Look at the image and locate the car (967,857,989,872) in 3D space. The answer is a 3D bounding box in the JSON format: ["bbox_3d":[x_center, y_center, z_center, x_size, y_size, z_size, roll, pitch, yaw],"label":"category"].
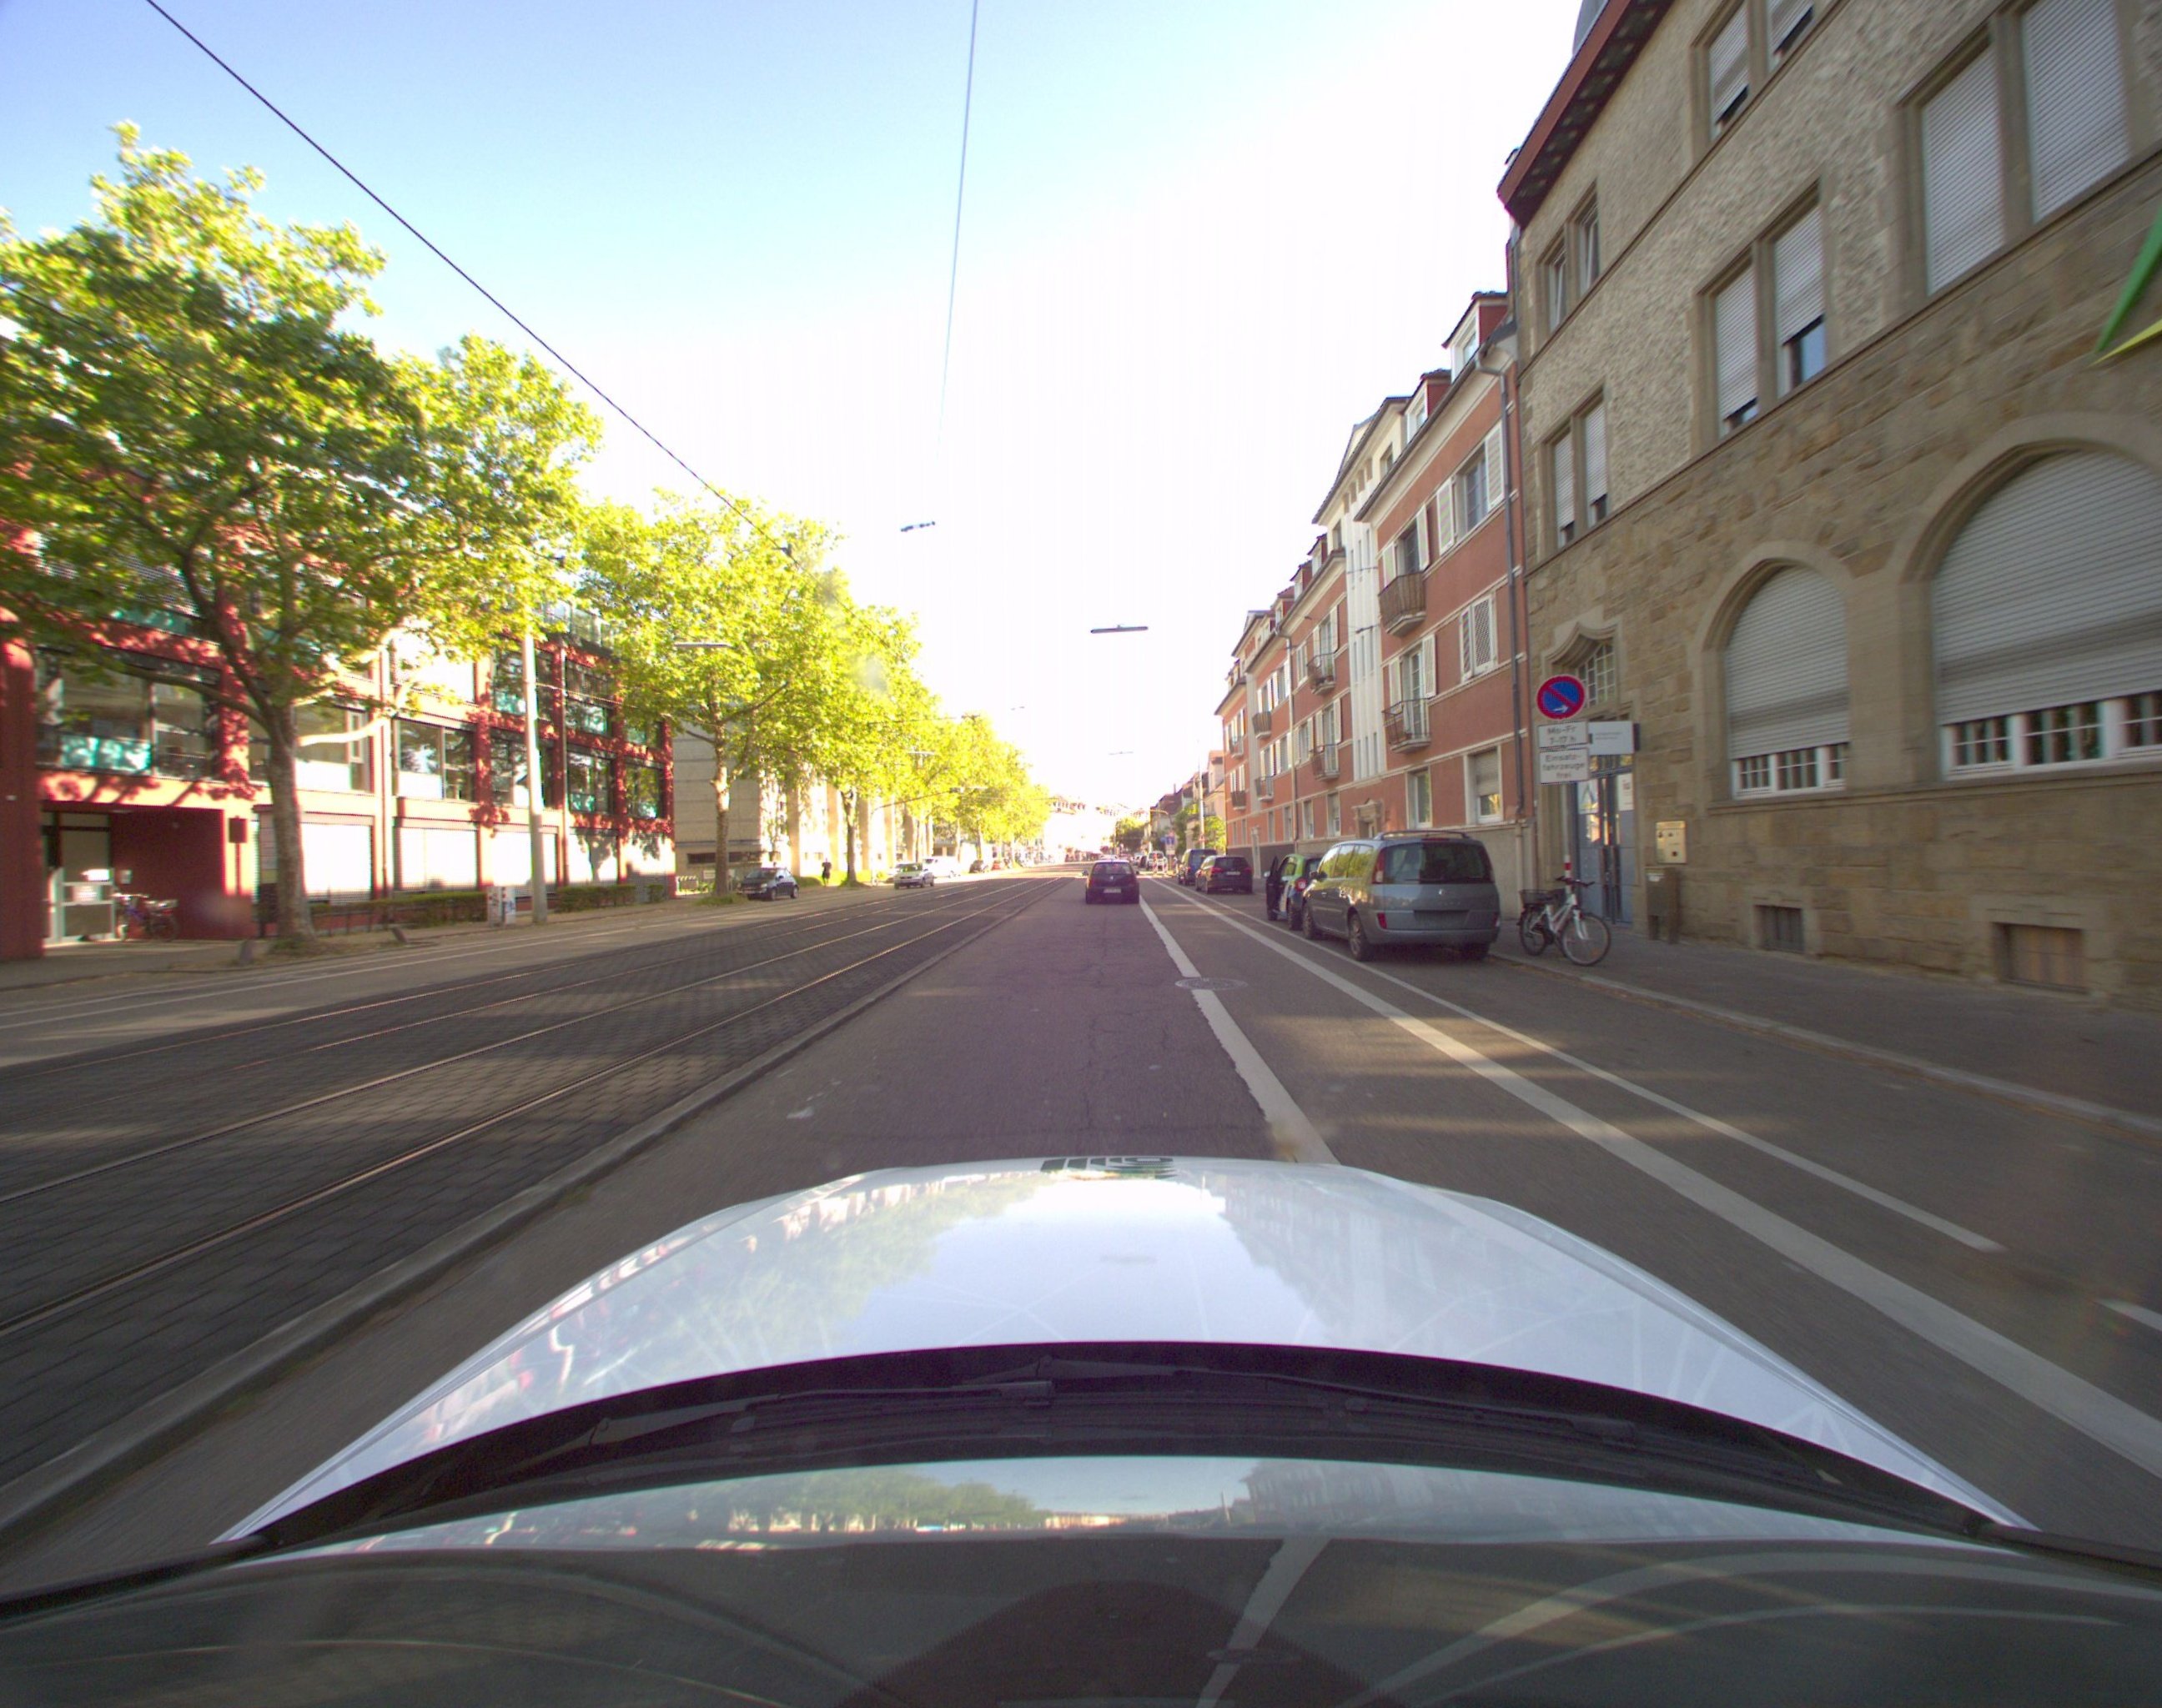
[{"bbox_3d":[-11.986,1.172,95.275,1.880,1.666,4.002,-2,0,2],"label":"car"}]

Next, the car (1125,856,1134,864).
[{"bbox_3d":[9.574,1.184,160.294,1.661,1.598,3.652,-1,0,2],"label":"car"}]

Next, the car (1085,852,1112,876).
[{"bbox_3d":[1.245,0.696,56.787,1.741,1.537,3.894,-2,0,2],"label":"car"}]

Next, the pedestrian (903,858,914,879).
[{"bbox_3d":[-15.341,1.288,72.279,0.793,1.820,0.670,0,0,1],"label":"pedestrian"}]

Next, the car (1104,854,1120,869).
[{"bbox_3d":[3.330,0.802,88.268,1.630,1.472,3.731,-2,0,2],"label":"car"}]

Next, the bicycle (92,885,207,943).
[{"bbox_3d":[-21.134,1.352,18.486,2.052,1.272,0.619,0,0,5],"label":"bicycle"}]

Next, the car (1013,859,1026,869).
[{"bbox_3d":[-10.627,1.649,140.834,1.877,1.669,3.805,0,0,1],"label":"car"}]

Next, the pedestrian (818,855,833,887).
[{"bbox_3d":[-15.438,1.011,49.260,0.789,1.870,0.665,0,0,-26],"label":"pedestrian"}]

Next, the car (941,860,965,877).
[{"bbox_3d":[-12.317,1.346,78.486,1.568,1.507,4.092,0,0,2],"label":"car"}]

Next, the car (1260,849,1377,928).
[{"bbox_3d":[4.979,0.660,17.521,1.625,1.511,3.719,0,0,3],"label":"car"}]

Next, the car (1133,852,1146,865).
[{"bbox_3d":[8.501,0.704,118.647,1.810,1.799,4.002,-2,0,2],"label":"car"}]

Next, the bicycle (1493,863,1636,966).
[{"bbox_3d":[6.228,0.724,10.659,0.513,1.139,2.259,-3,0,1],"label":"bicycle"}]

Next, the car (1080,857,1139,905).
[{"bbox_3d":[0.889,0.828,26.830,1.743,1.375,4.000,-2,0,1],"label":"car"}]

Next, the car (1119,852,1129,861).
[{"bbox_3d":[7.227,0.397,136.534,1.630,1.472,3.731,-2,0,2],"label":"car"}]

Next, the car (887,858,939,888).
[{"bbox_3d":[-9.533,1.071,46.610,1.745,1.518,4.076,-4,0,5],"label":"car"}]

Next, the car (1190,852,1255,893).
[{"bbox_3d":[5.544,0.699,32.477,1.748,1.511,4.761,0,0,0],"label":"car"}]

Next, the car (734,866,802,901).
[{"bbox_3d":[-13.962,1.292,36.483,1.501,1.454,3.466,-1,0,3],"label":"car"}]

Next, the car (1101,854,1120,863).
[{"bbox_3d":[6.507,0.919,180.909,3.987,2.013,1.994,0,0,-10],"label":"car"}]

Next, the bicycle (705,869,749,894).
[{"bbox_3d":[-18.681,1.452,42.959,2.001,1.278,0.664,0,0,2],"label":"bicycle"}]

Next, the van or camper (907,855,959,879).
[{"bbox_3d":[-12.854,1.087,71.032,2.042,1.949,5.217,0,0,22],"label":"van or camper"}]

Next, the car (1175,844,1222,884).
[{"bbox_3d":[5.852,0.482,40.881,1.697,1.810,4.271,-3,0,0],"label":"car"}]

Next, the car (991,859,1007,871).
[{"bbox_3d":[-11.242,1.551,111.822,1.564,1.533,3.574,-2,-1,2],"label":"car"}]

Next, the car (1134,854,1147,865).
[{"bbox_3d":[8.289,0.768,113.817,1.574,1.375,4.002,-2,0,2],"label":"car"}]

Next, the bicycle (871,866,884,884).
[{"bbox_3d":[-13.766,1.406,55.107,0.580,1.209,1.651,-2,0,-4],"label":"bicycle"}]

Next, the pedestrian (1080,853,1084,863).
[{"bbox_3d":[0.319,1.090,220.601,1.091,2.659,0.960,0,0,3],"label":"pedestrian"}]

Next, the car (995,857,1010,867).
[{"bbox_3d":[-11.633,1.138,121.205,1.785,1.465,3.837,1,0,2],"label":"car"}]

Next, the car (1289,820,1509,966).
[{"bbox_3d":[4.700,0.501,12.879,1.746,1.855,4.818,-1,0,2],"label":"car"}]

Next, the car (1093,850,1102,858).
[{"bbox_3d":[3.212,-0.004,158.164,1.630,1.472,3.731,-6,0,2],"label":"car"}]

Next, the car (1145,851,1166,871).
[{"bbox_3d":[6.971,0.652,76.278,1.752,1.838,3.549,0,0,2],"label":"car"}]

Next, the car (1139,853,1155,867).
[{"bbox_3d":[7.721,0.682,96.034,1.654,1.526,4.038,-2,0,2],"label":"car"}]

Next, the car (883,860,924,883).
[{"bbox_3d":[-13.149,1.299,60.680,2.005,1.572,4.693,0,0,1],"label":"car"}]
